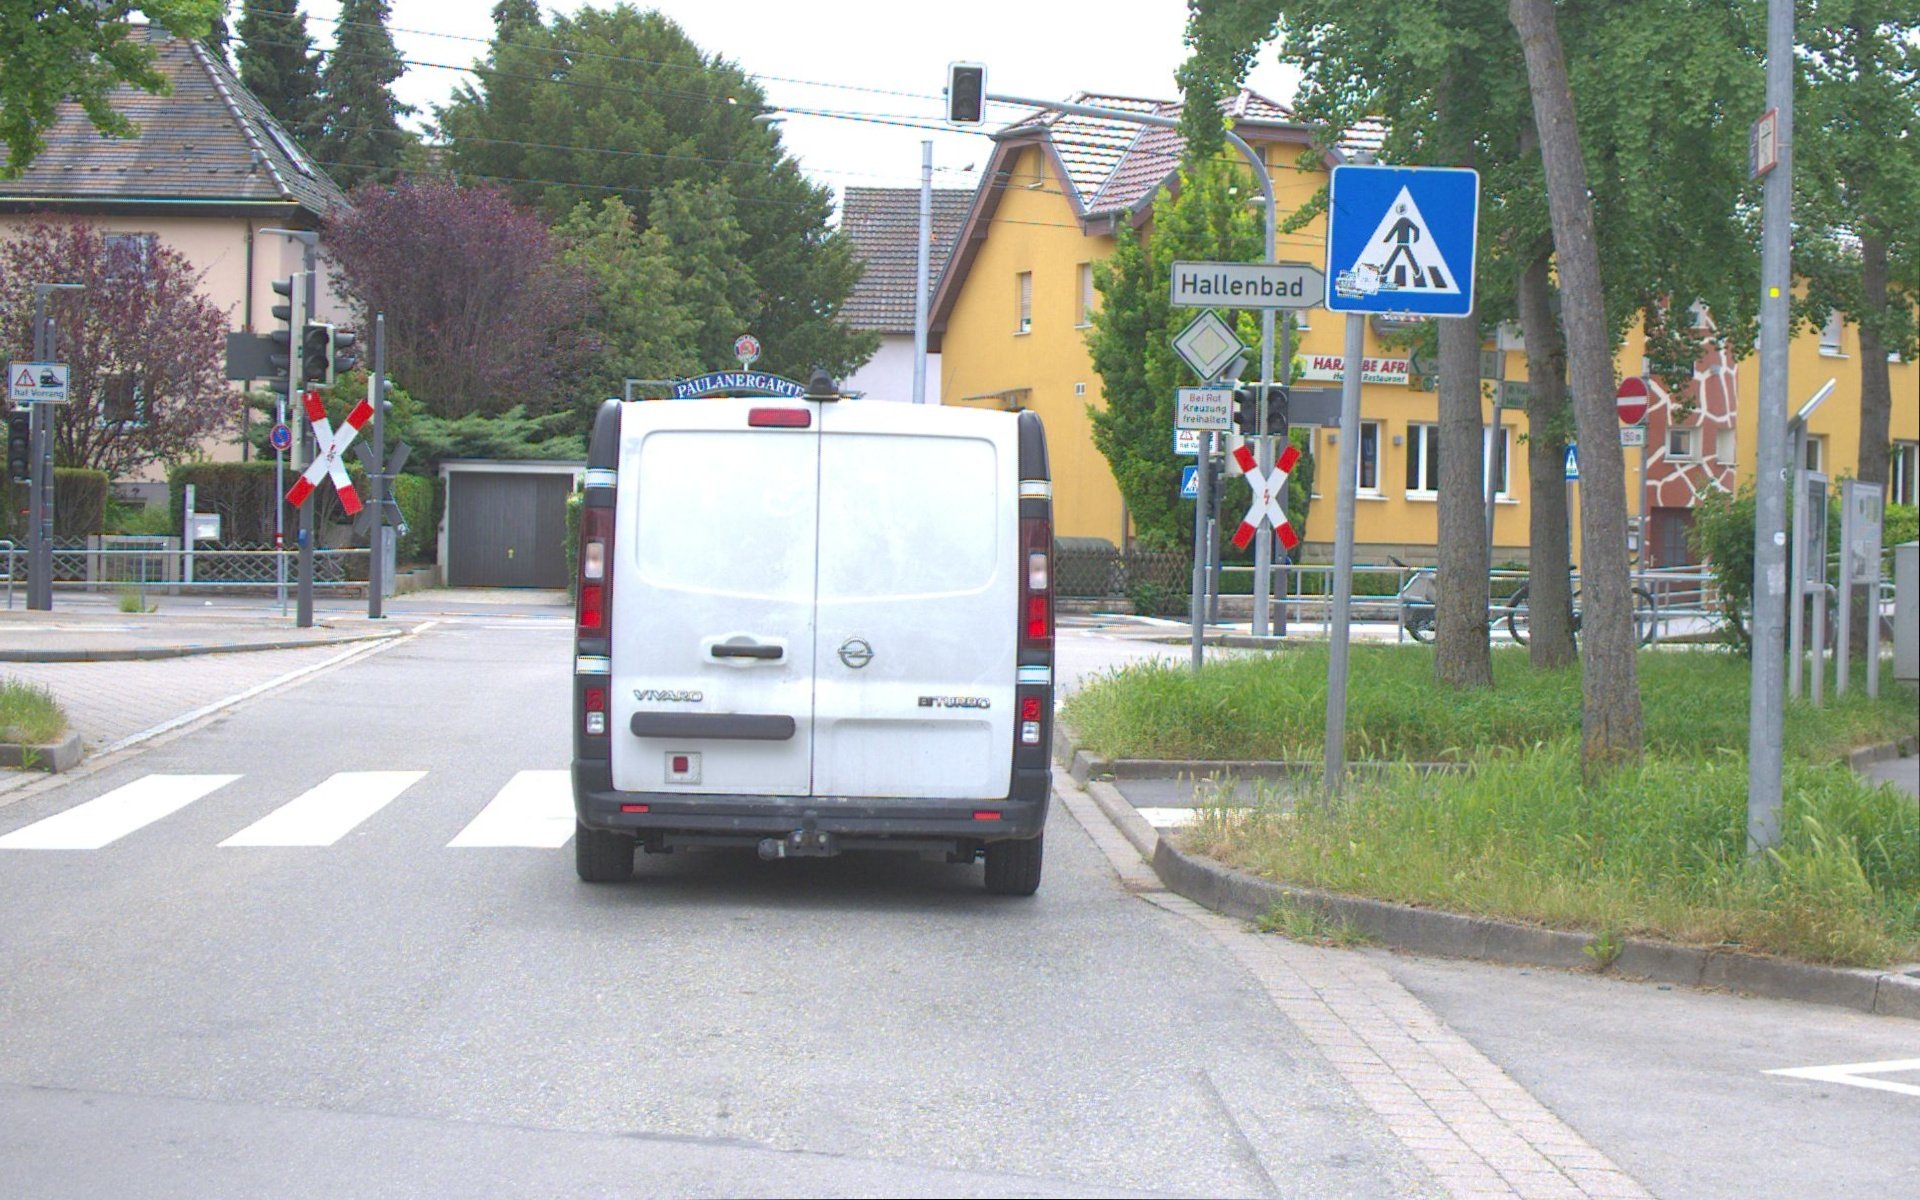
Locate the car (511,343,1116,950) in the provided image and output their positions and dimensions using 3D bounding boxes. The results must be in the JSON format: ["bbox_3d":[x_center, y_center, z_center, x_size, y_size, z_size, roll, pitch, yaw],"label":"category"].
[{"bbox_3d":[-0.706,0.107,15.178,2.116,2.127,5.442,2,1,-4],"label":"car"}]

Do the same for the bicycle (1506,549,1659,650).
[{"bbox_3d":[7.343,-0.006,40.575,1.686,1.151,0.467,1,1,-10],"label":"bicycle"}]

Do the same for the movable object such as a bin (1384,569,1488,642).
[{"bbox_3d":[5.609,0.064,40.536,1.091,0.822,0.580,2,1,-6],"label":"movable object such as a bin"}]
